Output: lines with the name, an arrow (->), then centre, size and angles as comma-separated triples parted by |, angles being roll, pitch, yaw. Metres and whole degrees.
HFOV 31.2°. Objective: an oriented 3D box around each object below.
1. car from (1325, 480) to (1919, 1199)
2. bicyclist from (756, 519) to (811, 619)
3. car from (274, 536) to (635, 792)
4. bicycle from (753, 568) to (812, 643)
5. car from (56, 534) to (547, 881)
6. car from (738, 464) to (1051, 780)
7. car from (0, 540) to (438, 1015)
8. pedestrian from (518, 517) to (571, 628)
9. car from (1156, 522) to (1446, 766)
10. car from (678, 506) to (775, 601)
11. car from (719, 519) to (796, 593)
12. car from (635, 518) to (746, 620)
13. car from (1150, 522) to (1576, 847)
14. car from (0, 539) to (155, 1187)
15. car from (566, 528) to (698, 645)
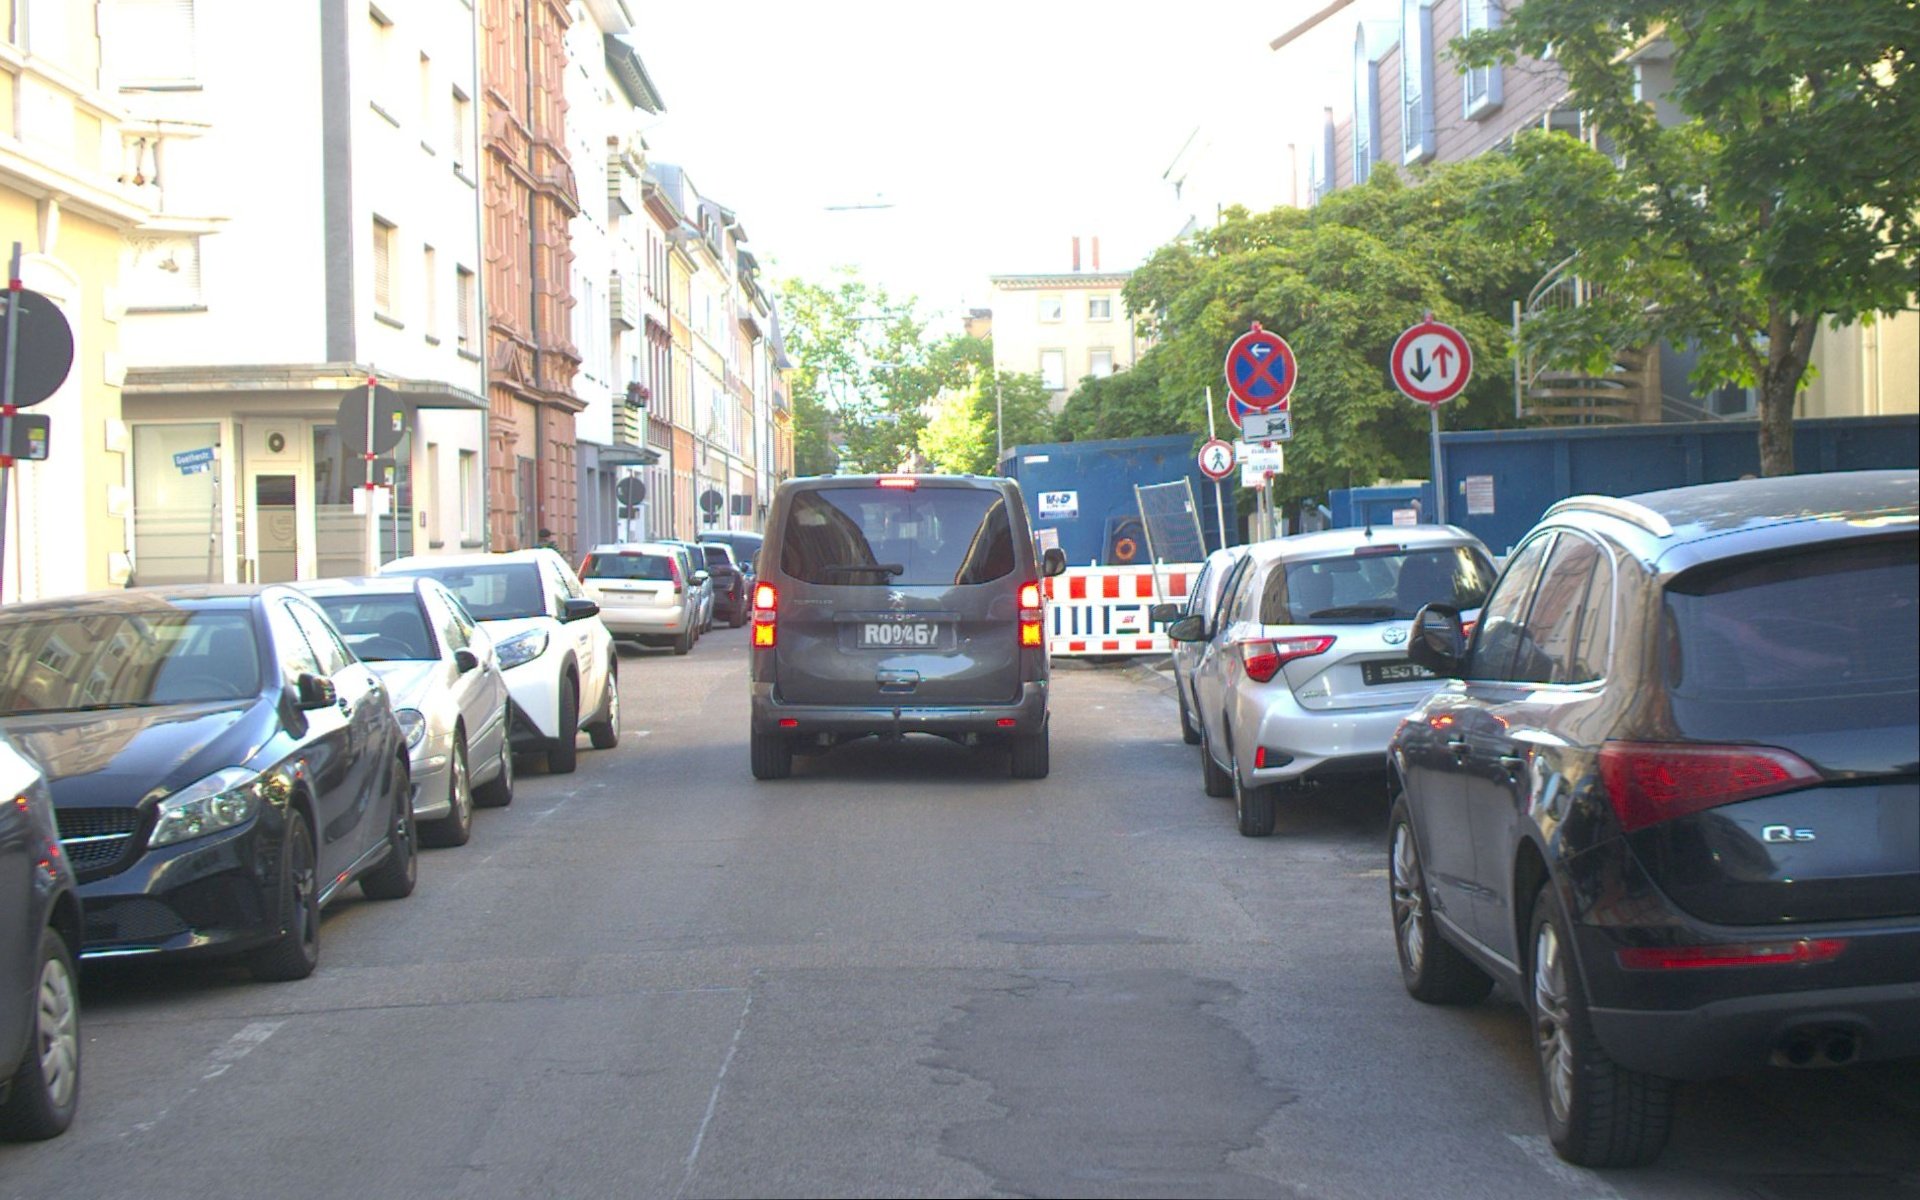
car -> 2.273, 0.495, 9.706 | 1.885, 1.617, 4.434 | -3, 1, -1
bicyclist -> -2.525, -0.453, 49.130 | 0.733, 1.407, 0.940 | 0, 1, 0
car -> -3.459, 0.374, 24.305 | 1.920, 1.502, 4.267 | -3, 2, -1
bicycle -> -2.525, 0.066, 49.012 | 0.733, 1.024, 2.115 | 0, 1, 0
car -> -3.465, 0.484, 18.902 | 1.920, 1.554, 4.267 | -3, 2, -2
car -> -0.426, 0.109, 22.685 | 1.865, 1.880, 4.235 | 0, 1, -1
car -> -3.309, 0.577, 13.481 | 1.920, 1.478, 4.267 | -3, 2, -2
pedestrian -> -6.301, -0.428, 52.188 | 0.740, 1.659, 0.704 | -1, 1, -5
car -> 2.266, 0.242, 23.650 | 1.676, 1.470, 3.729 | -3, 1, 2
car -> -4.961, -0.984, 72.816 | 1.891, 1.840, 4.349 | 4, 0, -4
car -> -5.509, -1.186, 92.996 | 1.891, 1.840, 4.349 | 4, 0, -4
car -> -4.970, -0.566, 63.449 | 1.891, 1.714, 3.754 | 4, 0, -4
car -> 2.100, 0.379, 18.922 | 1.676, 1.520, 3.971 | -3, 1, -2
car -> -3.306, 0.706, 8.009 | 1.901, 1.554, 4.241 | -3, 2, -2
car -> -4.490, -0.190, 47.387 | 1.656, 1.455, 3.418 | 4, 0, -4
